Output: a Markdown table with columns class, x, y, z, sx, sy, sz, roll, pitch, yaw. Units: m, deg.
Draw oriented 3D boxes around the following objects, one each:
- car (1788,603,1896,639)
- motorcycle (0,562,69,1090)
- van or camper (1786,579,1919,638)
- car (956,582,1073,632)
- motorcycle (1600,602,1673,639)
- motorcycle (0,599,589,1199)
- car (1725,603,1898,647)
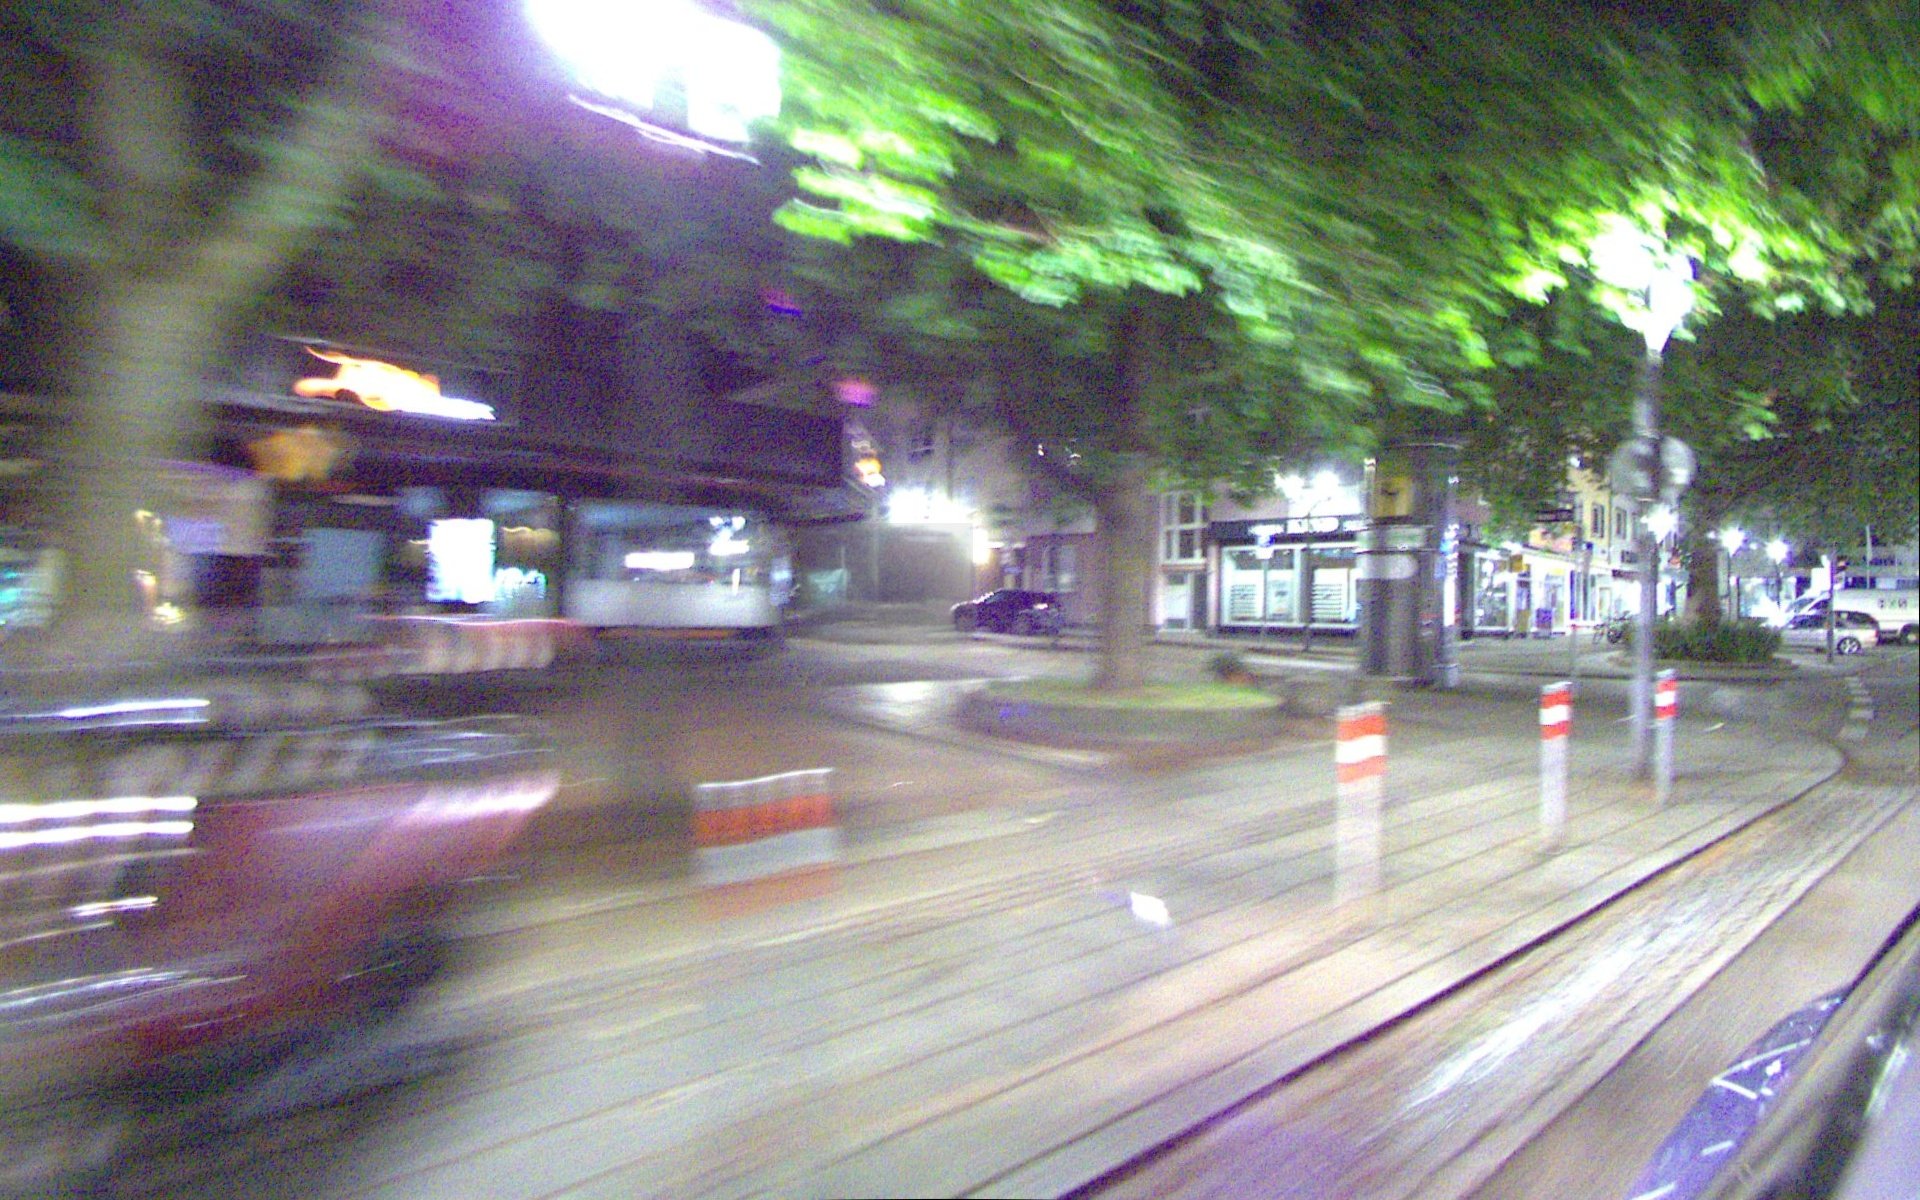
| class | x | y | z | sx | sy | sz | roll | pitch | yaw |
| --- | --- | --- | --- | --- | --- | --- | --- | --- | --- |
| car | 38.250 | 0.906 | 43.980 | 3.141 | 1.474 | 1.682 | 1 | 0 | 22 |
| motorcycle | -2.629 | 0.616 | 1.796 | 0.647 | 1.408 | 2.276 | 1 | 1 | -16 |
| van or camper | 41.256 | 0.368 | 45.511 | 5.972 | 2.565 | 2.149 | 1 | 0 | 19 |
| car | 1.901 | 0.235 | 36.003 | 1.868 | 1.609 | 3.993 | 2 | 0 | -42 |
| motorcycle | 24.468 | 0.727 | 36.611 | 2.183 | 1.287 | 0.531 | 1 | 0 | 7 |
| motorcycle | -1.595 | 0.675 | 2.719 | 0.505 | 1.313 | 2.172 | 1 | 1 | -3 |
| car | 30.650 | 0.864 | 36.558 | 4.480 | 1.474 | 1.630 | 1 | 0 | 14 |
